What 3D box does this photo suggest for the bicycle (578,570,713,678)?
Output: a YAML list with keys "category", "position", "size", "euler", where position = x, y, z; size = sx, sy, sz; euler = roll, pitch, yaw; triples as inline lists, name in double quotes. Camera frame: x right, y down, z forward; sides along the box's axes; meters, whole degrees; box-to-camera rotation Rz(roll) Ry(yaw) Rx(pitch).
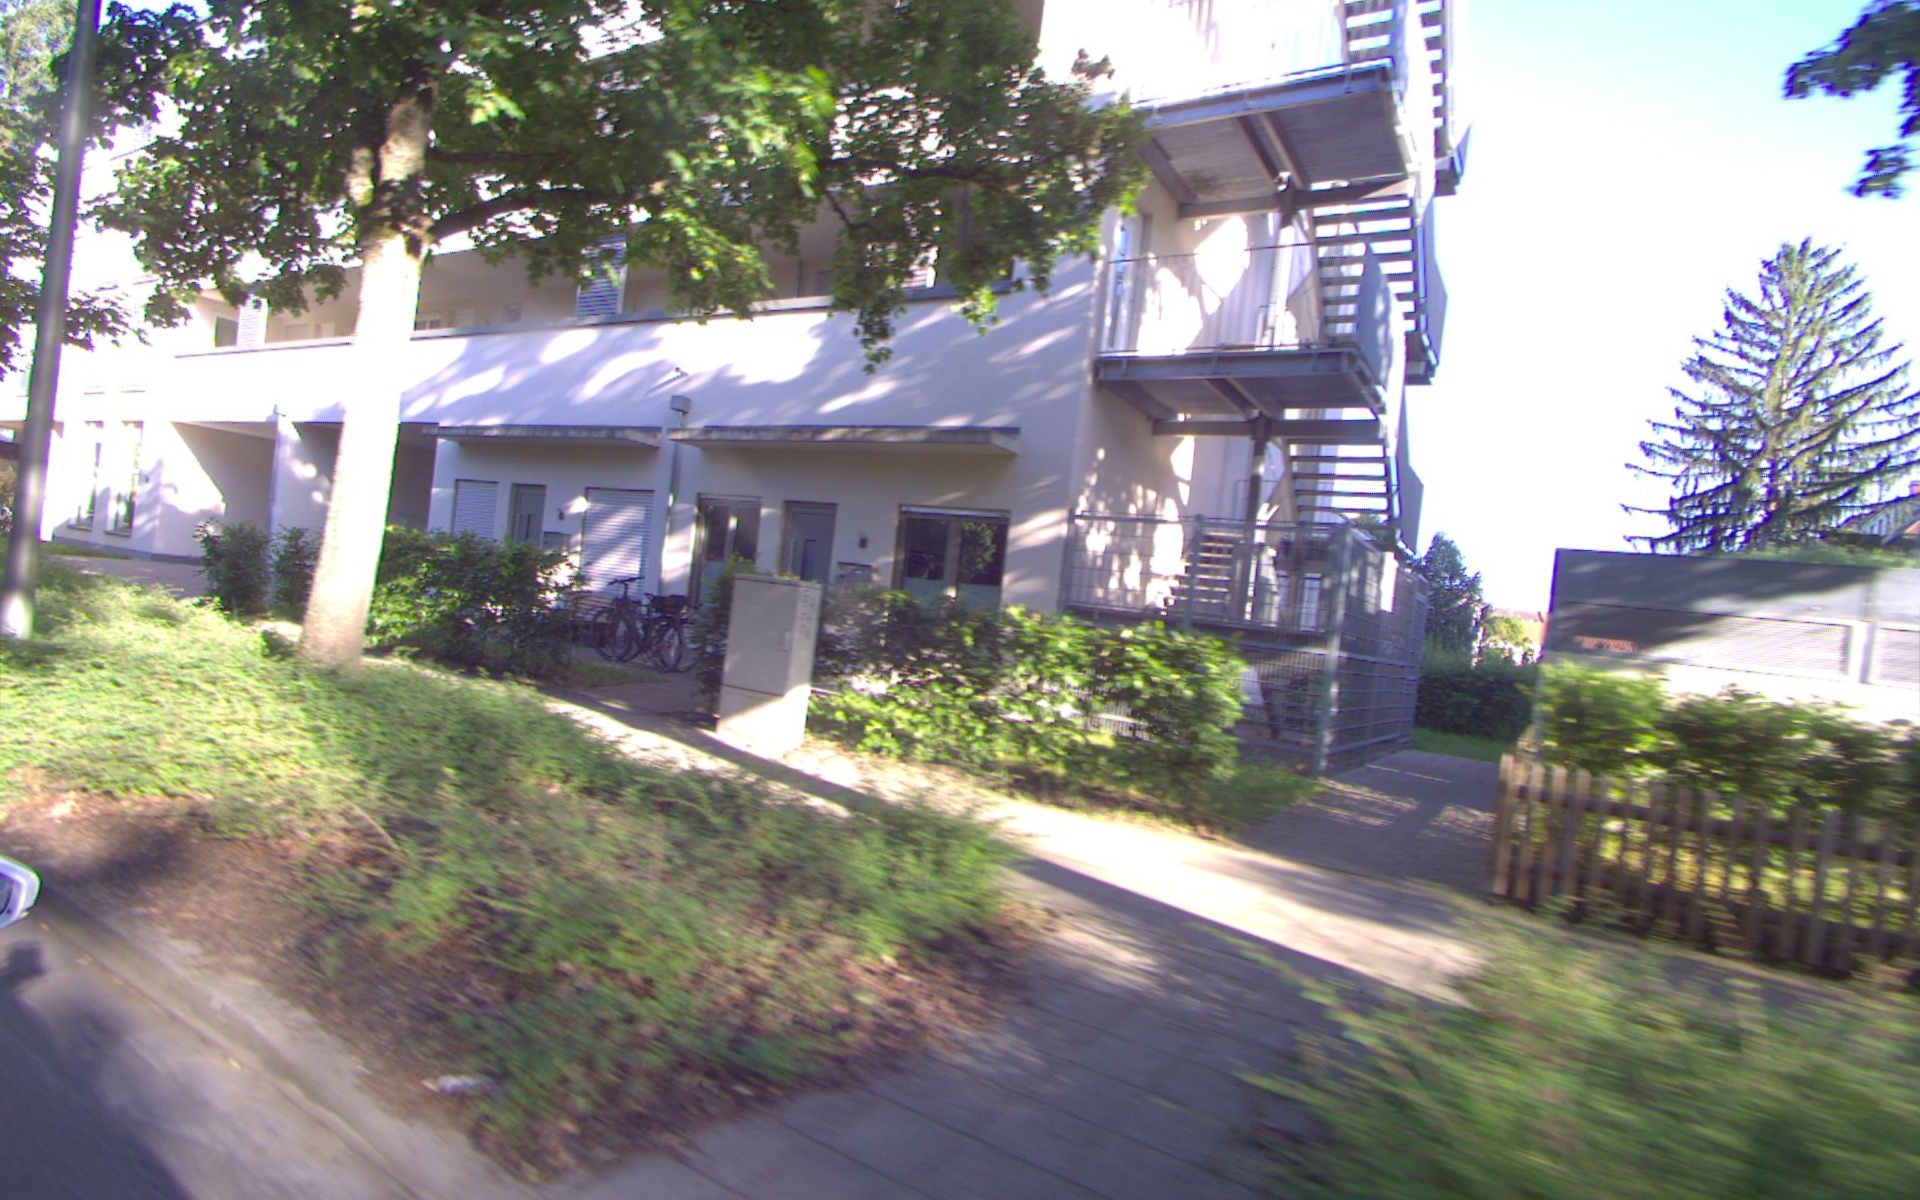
- category: "bicycle"
  position: [-4.195, 0.310, 13.378]
  size: [1.724, 1.205, 0.619]
  euler: [7, -1, 32]
